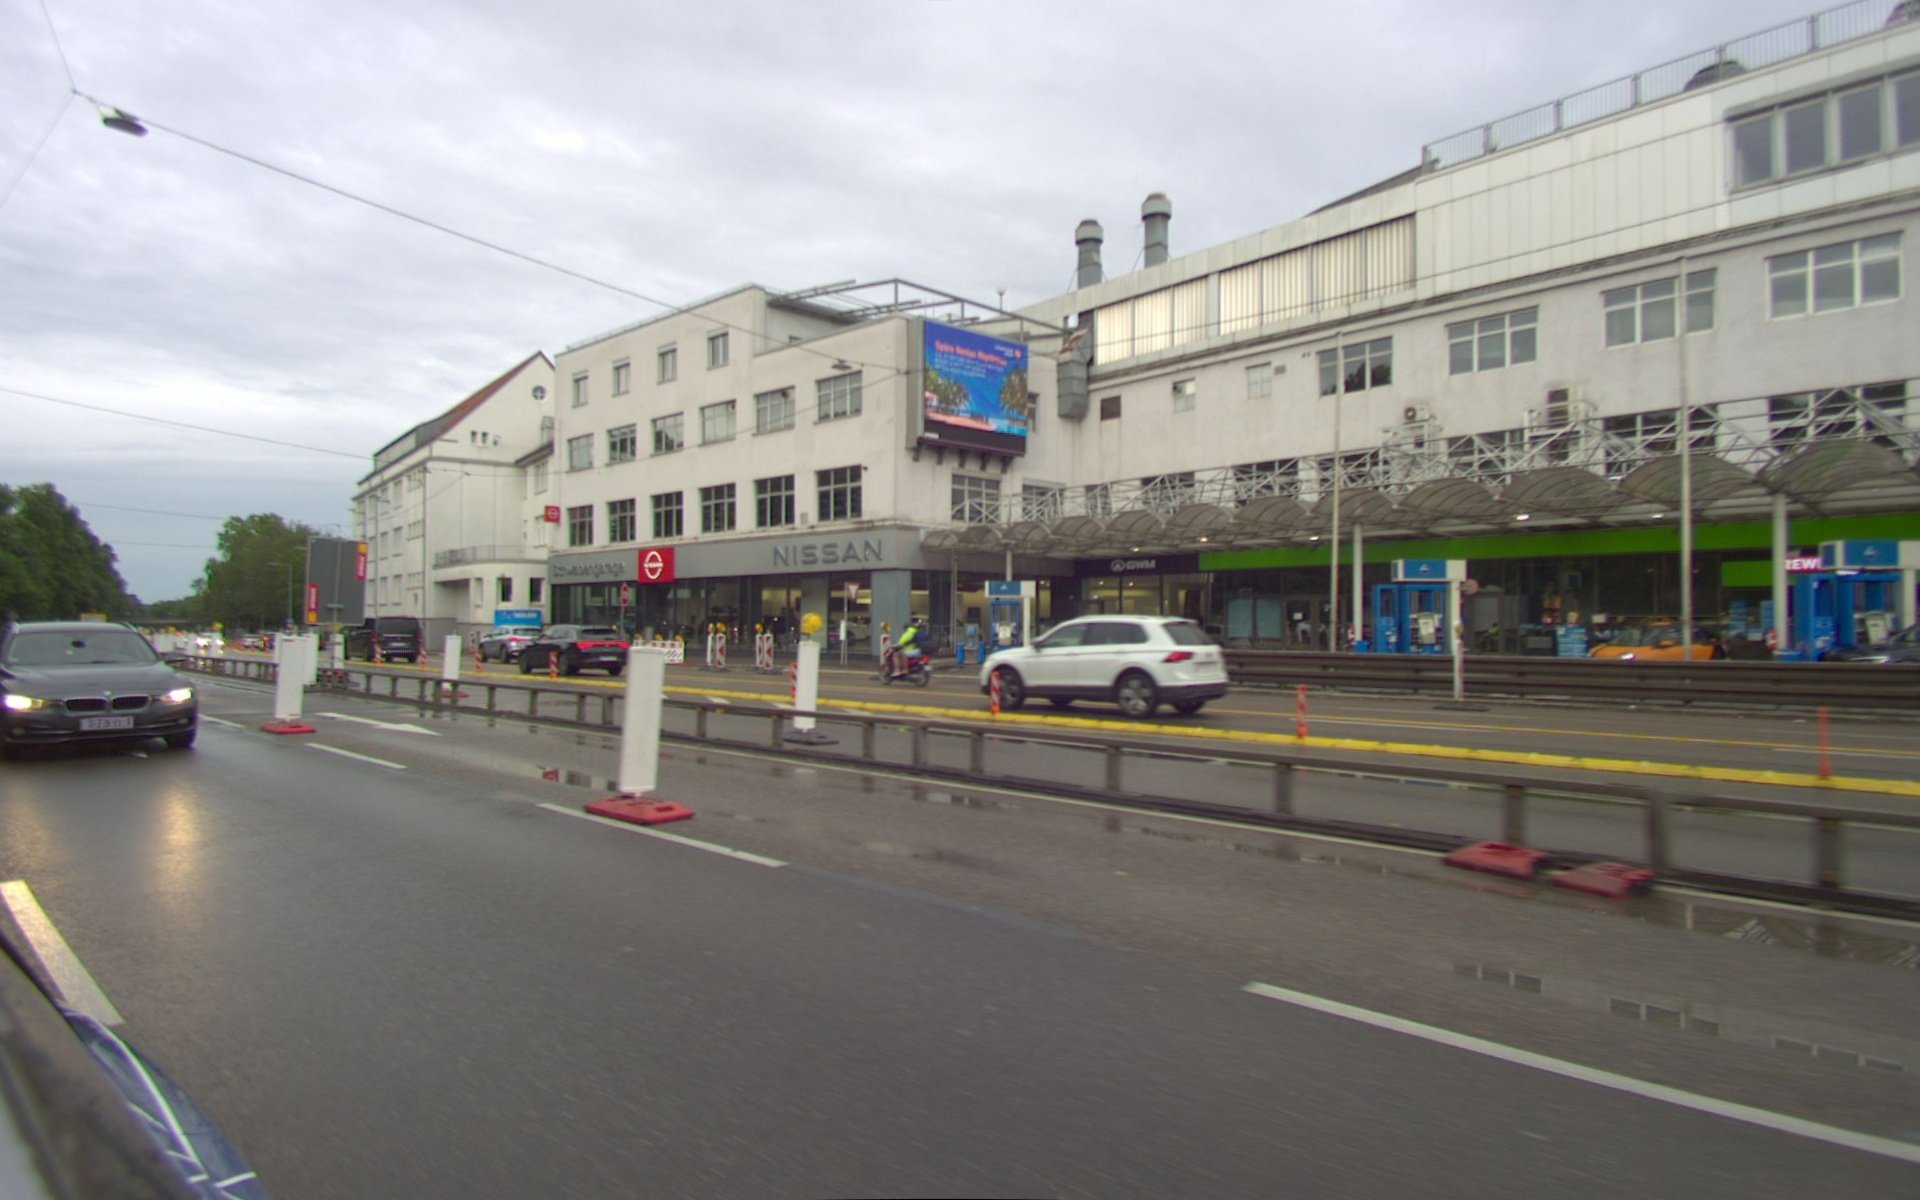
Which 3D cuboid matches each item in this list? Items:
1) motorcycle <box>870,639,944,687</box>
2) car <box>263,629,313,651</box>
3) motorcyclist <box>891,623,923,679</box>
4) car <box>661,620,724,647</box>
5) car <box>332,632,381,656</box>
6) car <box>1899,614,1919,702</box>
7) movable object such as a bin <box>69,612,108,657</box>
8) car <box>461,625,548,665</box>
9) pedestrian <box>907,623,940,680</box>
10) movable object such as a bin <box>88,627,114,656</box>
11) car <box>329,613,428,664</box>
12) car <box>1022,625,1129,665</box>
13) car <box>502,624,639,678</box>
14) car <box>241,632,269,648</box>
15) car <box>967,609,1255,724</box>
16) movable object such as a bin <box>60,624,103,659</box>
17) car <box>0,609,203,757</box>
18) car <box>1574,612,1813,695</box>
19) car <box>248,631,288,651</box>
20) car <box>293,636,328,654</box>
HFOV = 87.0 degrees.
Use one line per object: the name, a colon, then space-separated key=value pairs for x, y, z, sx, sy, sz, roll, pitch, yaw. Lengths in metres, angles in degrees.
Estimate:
motorcycle: x=-1.333 y=1.543 z=25.100 sx=2.027 sy=1.111 sz=0.572 roll=-1 pitch=-3 yaw=43
car: x=-43.976 y=2.615 z=66.173 sx=1.777 sy=1.362 sz=4.815 roll=3 pitch=-3 yaw=-45
motorcyclist: x=-1.310 y=1.262 z=25.089 sx=0.561 sy=1.374 sz=0.582 roll=-2 pitch=-3 yaw=41
car: x=-18.933 y=2.367 z=71.763 sx=3.902 sy=1.844 sz=1.792 roll=3 pitch=-3 yaw=-40
car: x=-39.766 y=2.862 z=66.598 sx=1.762 sy=1.519 sz=4.526 roll=3 pitch=-3 yaw=-44
car: x=20.804 y=1.145 z=19.175 sx=4.409 sy=1.692 sz=2.017 roll=1 pitch=-3 yaw=-8
movable object such as a bin: x=-58.797 y=2.392 z=68.306 sx=1.799 sy=2.935 sz=3.612 roll=3 pitch=-4 yaw=-40
car: x=-18.907 y=1.837 z=41.949 sx=4.265 sy=1.597 sz=1.728 roll=-1 pitch=-3 yaw=43
pedestrian: x=-0.882 y=1.254 z=24.714 sx=0.561 sy=1.374 sz=0.582 roll=-2 pitch=-3 yaw=41
movable object such as a bin: x=-62.991 y=3.033 z=74.215 sx=1.378 sy=2.060 sz=4.092 roll=3 pitch=-4 yaw=-40
car: x=-23.841 y=1.561 z=41.395 sx=5.230 sy=1.951 sz=1.972 roll=-1 pitch=-3 yaw=42
car: x=4.583 y=1.783 z=40.340 sx=3.968 sy=1.494 sz=1.793 roll=-1 pitch=-3 yaw=44
car: x=-11.582 y=1.460 z=29.914 sx=4.706 sy=1.477 sz=1.831 roll=-1 pitch=-3 yaw=42
car: x=-68.595 y=3.922 z=98.444 sx=1.680 sy=1.475 sz=4.123 roll=5 pitch=-5 yaw=-41
car: x=2.470 y=1.061 z=17.310 sx=4.578 sy=1.702 sz=1.918 roll=-1 pitch=-3 yaw=42
movable object such as a bin: x=-55.818 y=2.638 z=64.354 sx=1.969 sy=2.128 sz=3.855 roll=3 pitch=-4 yaw=-40
car: x=-10.515 y=0.892 z=11.952 sx=4.177 sy=1.461 sz=1.740 roll=-2 pitch=-3 yaw=42
car: x=17.181 y=1.249 z=23.819 sx=4.375 sy=1.784 sz=1.970 roll=1 pitch=-3 yaw=-8
car: x=-51.742 y=3.072 z=75.685 sx=3.807 sy=1.398 sz=1.777 roll=-1 pitch=-3 yaw=45
car: x=-53.611 y=3.730 z=83.549 sx=1.713 sy=1.425 sz=3.712 roll=3 pitch=-3 yaw=-44
